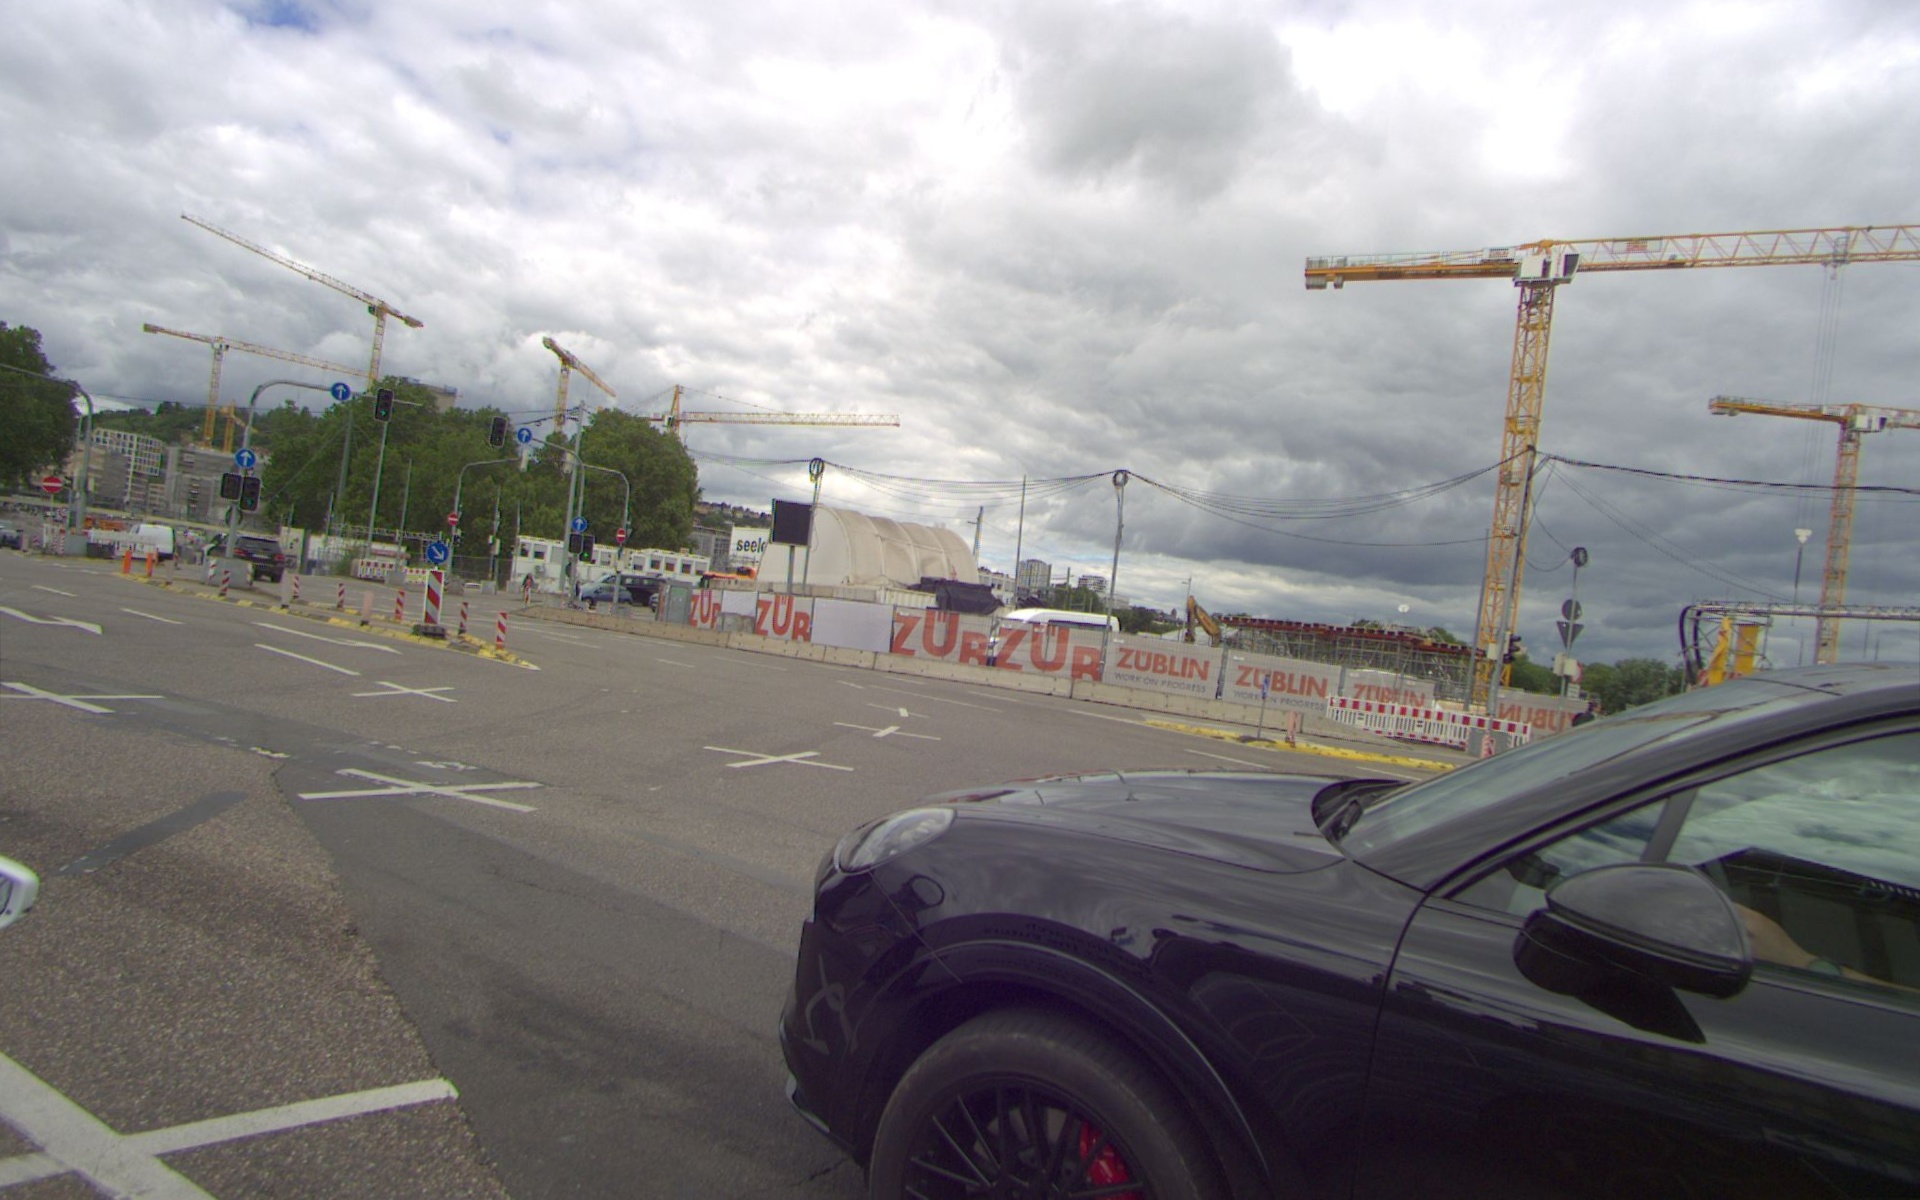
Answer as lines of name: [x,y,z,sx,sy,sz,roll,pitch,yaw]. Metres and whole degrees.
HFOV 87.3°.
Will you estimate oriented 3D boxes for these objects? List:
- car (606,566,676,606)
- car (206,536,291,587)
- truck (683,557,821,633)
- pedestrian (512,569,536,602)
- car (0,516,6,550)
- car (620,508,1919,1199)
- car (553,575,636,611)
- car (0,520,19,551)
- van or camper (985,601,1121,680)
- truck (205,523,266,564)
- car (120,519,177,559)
car: [-21.052,-0.870,66.514,1.965,2.037,3.998,7,-2,28]
car: [-28.717,-1.556,40.563,3.593,1.686,1.936,4,-2,42]
truck: [-12.683,-0.212,62.381,2.861,3.719,9.016,7,-1,29]
pedestrian: [-23.021,-0.760,53.133,0.836,1.611,0.622,5,-1,27]
car: [-42.867,-3.004,43.809,1.681,1.453,3.409,5,-1,-41]
car: [1.720,0.903,1.937,4.532,1.667,1.954,6,-1,32]
car: [-20.327,-0.376,56.128,1.756,1.452,4.063,6,-2,29]
car: [-47.282,-3.197,49.161,1.681,1.453,3.409,5,-1,-41]
van or camper: [3.128,1.375,34.029,3.947,2.255,1.989,6,0,-24]
truck: [-37.735,-2.972,52.360,1.930,1.701,3.963,9,-2,-44]
car: [-41.160,-3.093,50.979,3.597,1.707,1.754,4,-2,45]
